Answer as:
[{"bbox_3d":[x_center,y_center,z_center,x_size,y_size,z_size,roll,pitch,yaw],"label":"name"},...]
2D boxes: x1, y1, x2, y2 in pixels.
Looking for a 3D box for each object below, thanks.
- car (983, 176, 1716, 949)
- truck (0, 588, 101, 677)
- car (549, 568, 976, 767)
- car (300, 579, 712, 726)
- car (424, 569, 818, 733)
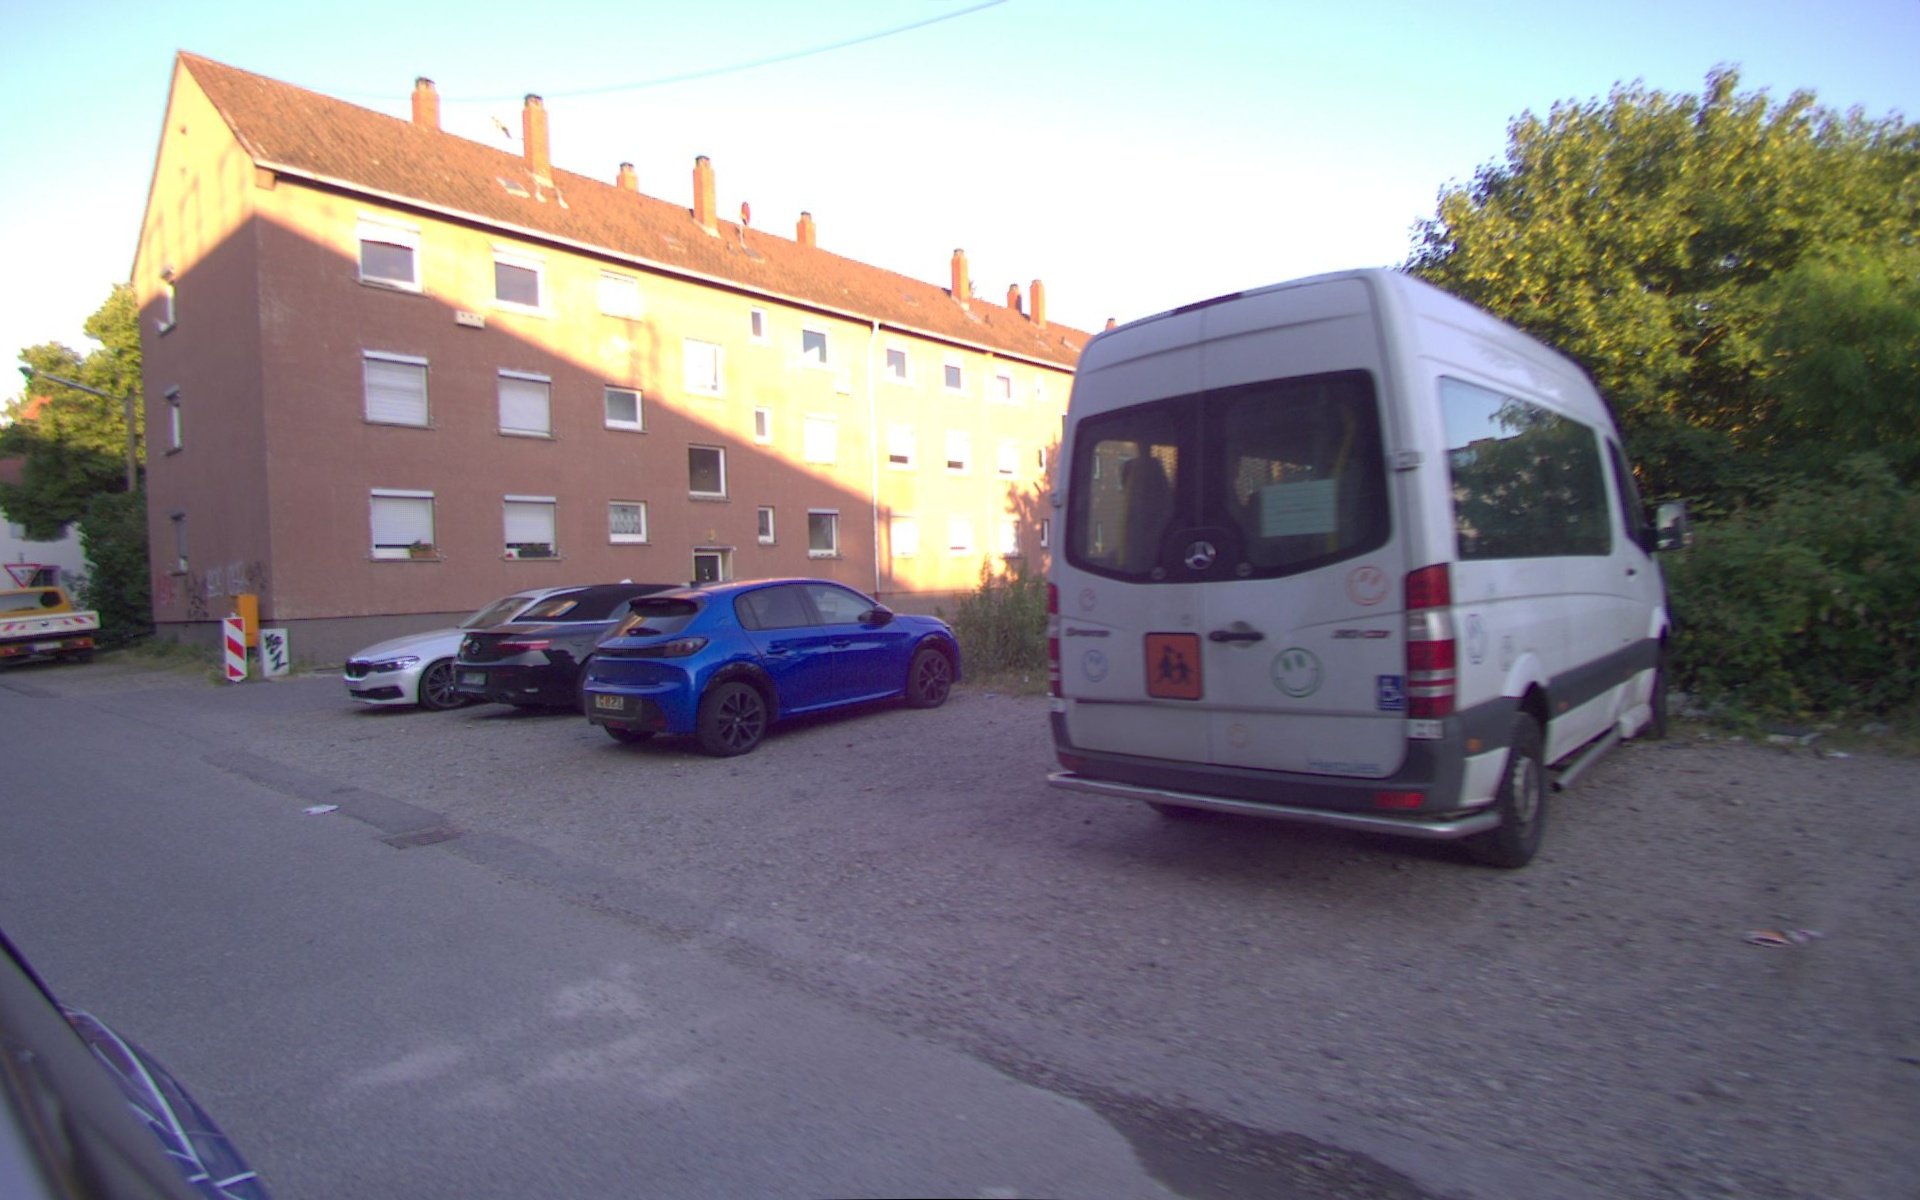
[{"bbox_3d":[2.889,-0.245,6.281,2.222,2.645,5.627,-1,2,43],"label":"car"},{"bbox_3d":[-23.247,0.757,25.133,5.658,1.927,2.014,-1,3,41],"label":"truck"},{"bbox_3d":[-1.716,0.485,9.791,1.726,1.440,3.799,-1,2,39],"label":"car"},{"bbox_3d":[-6.213,0.593,14.470,2.112,1.556,4.948,-1,2,37],"label":"car"},{"bbox_3d":[-3.957,0.474,12.521,1.725,1.556,4.376,-1,2,37],"label":"car"}]
